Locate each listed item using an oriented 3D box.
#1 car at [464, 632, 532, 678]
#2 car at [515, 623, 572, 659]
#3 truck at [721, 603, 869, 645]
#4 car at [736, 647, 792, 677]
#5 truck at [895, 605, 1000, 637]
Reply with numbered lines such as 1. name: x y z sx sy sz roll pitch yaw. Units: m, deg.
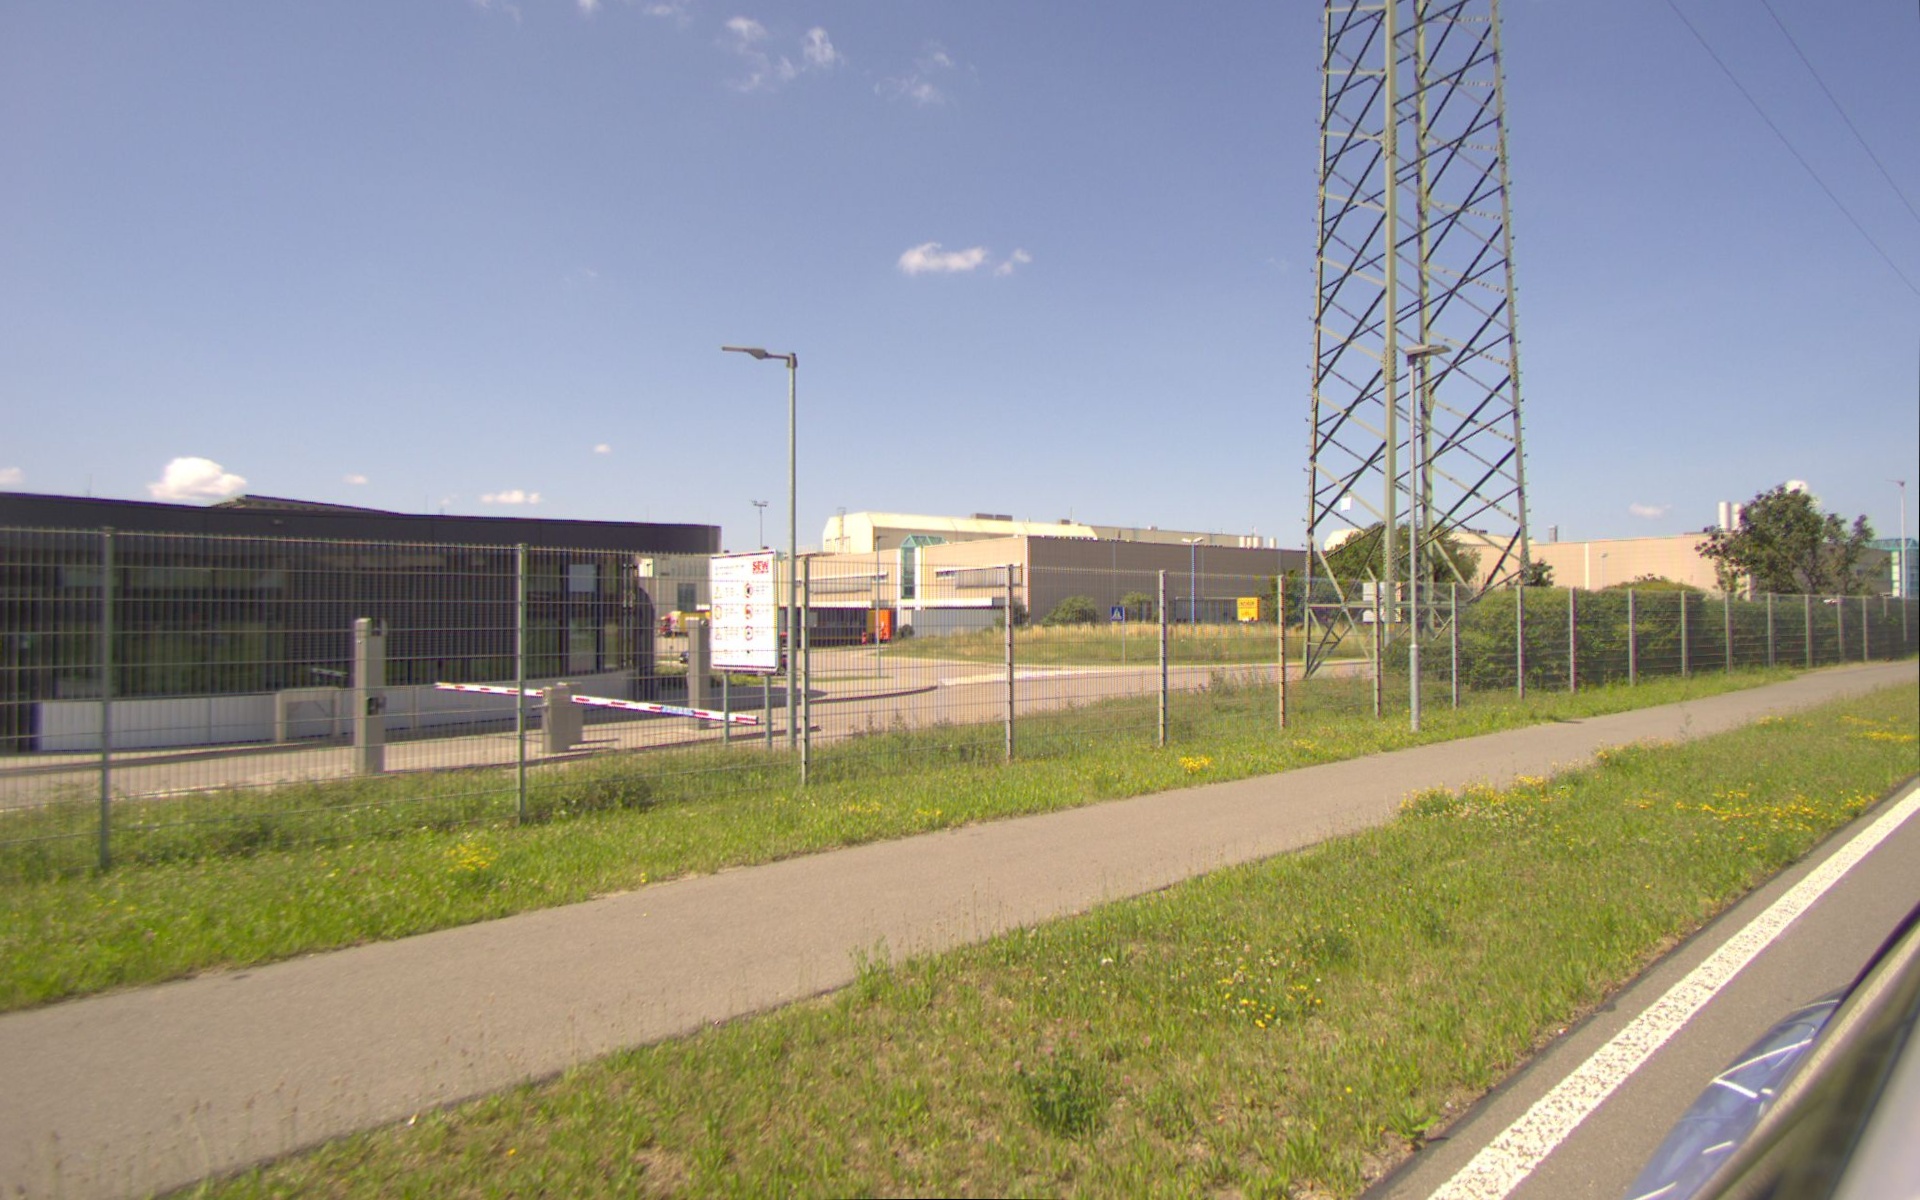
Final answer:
1. car: -21.837 2.540 47.745 1.963 2.040 4.749 0 -2 -37
2. car: -24.495 2.393 59.446 1.963 2.040 4.749 0 -2 -37
3. truck: -14.169 2.013 88.398 13.375 3.406 1.999 0 -2 -37
4. car: -8.650 2.728 44.682 2.152 1.168 1.200 0 1 -32
5. truck: -1.112 2.068 101.697 11.630 3.000 1.999 0 -2 -37
